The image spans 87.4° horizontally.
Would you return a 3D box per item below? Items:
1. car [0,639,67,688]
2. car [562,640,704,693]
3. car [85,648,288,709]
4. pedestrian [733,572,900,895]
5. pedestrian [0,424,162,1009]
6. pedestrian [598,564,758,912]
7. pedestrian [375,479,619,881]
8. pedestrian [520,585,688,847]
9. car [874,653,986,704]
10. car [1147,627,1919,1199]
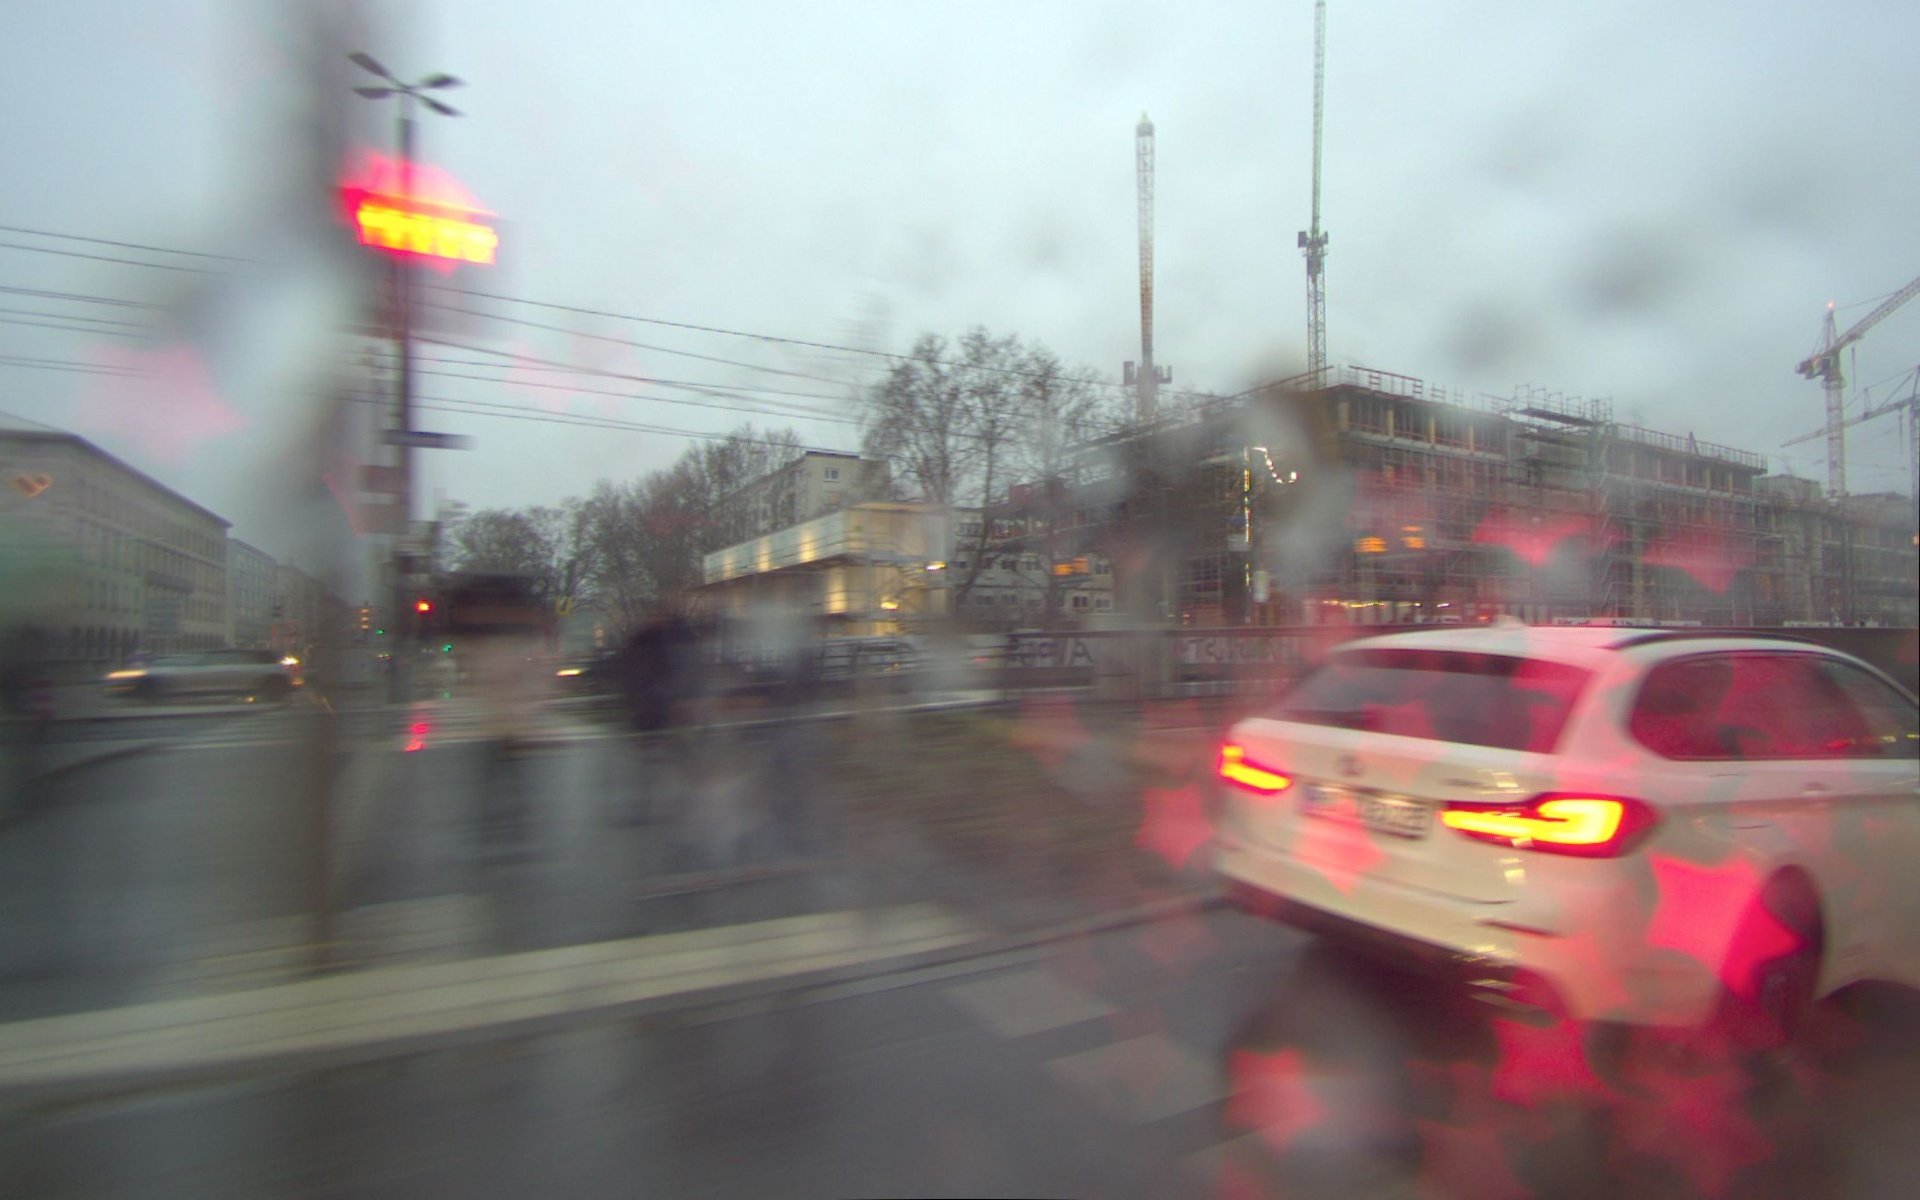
[{"bbox_3d":[-35.504,2.362,38.023,1.651,1.741,3.577,1,-2,-27],"label":"car"},{"bbox_3d":[-10.940,2.190,33.707,4.191,1.637,1.861,1,-2,-36],"label":"car"},{"bbox_3d":[-20.928,2.071,27.360,4.231,1.479,1.978,1,-2,-39],"label":"car"},{"bbox_3d":[-0.831,0.733,5.917,0.642,1.740,0.748,0,-1,31],"label":"pedestrian"},{"bbox_3d":[-3.909,0.436,4.031,1.011,2.174,0.895,1,-2,-43],"label":"pedestrian"},{"bbox_3d":[-1.510,0.711,5.478,0.593,1.758,0.668,1,-2,4],"label":"pedestrian"},{"bbox_3d":[-2.878,0.460,6.286,1.034,2.237,0.956,0,-1,32],"label":"pedestrian"},{"bbox_3d":[-2.550,0.782,7.221,0.846,1.737,0.763,-1,-1,32],"label":"pedestrian"},{"bbox_3d":[-1.211,3.168,41.205,4.342,1.898,1.861,1,-2,-36],"label":"car"},{"bbox_3d":[3.334,0.882,4.698,4.890,1.485,1.843,1,-2,-31],"label":"car"}]
